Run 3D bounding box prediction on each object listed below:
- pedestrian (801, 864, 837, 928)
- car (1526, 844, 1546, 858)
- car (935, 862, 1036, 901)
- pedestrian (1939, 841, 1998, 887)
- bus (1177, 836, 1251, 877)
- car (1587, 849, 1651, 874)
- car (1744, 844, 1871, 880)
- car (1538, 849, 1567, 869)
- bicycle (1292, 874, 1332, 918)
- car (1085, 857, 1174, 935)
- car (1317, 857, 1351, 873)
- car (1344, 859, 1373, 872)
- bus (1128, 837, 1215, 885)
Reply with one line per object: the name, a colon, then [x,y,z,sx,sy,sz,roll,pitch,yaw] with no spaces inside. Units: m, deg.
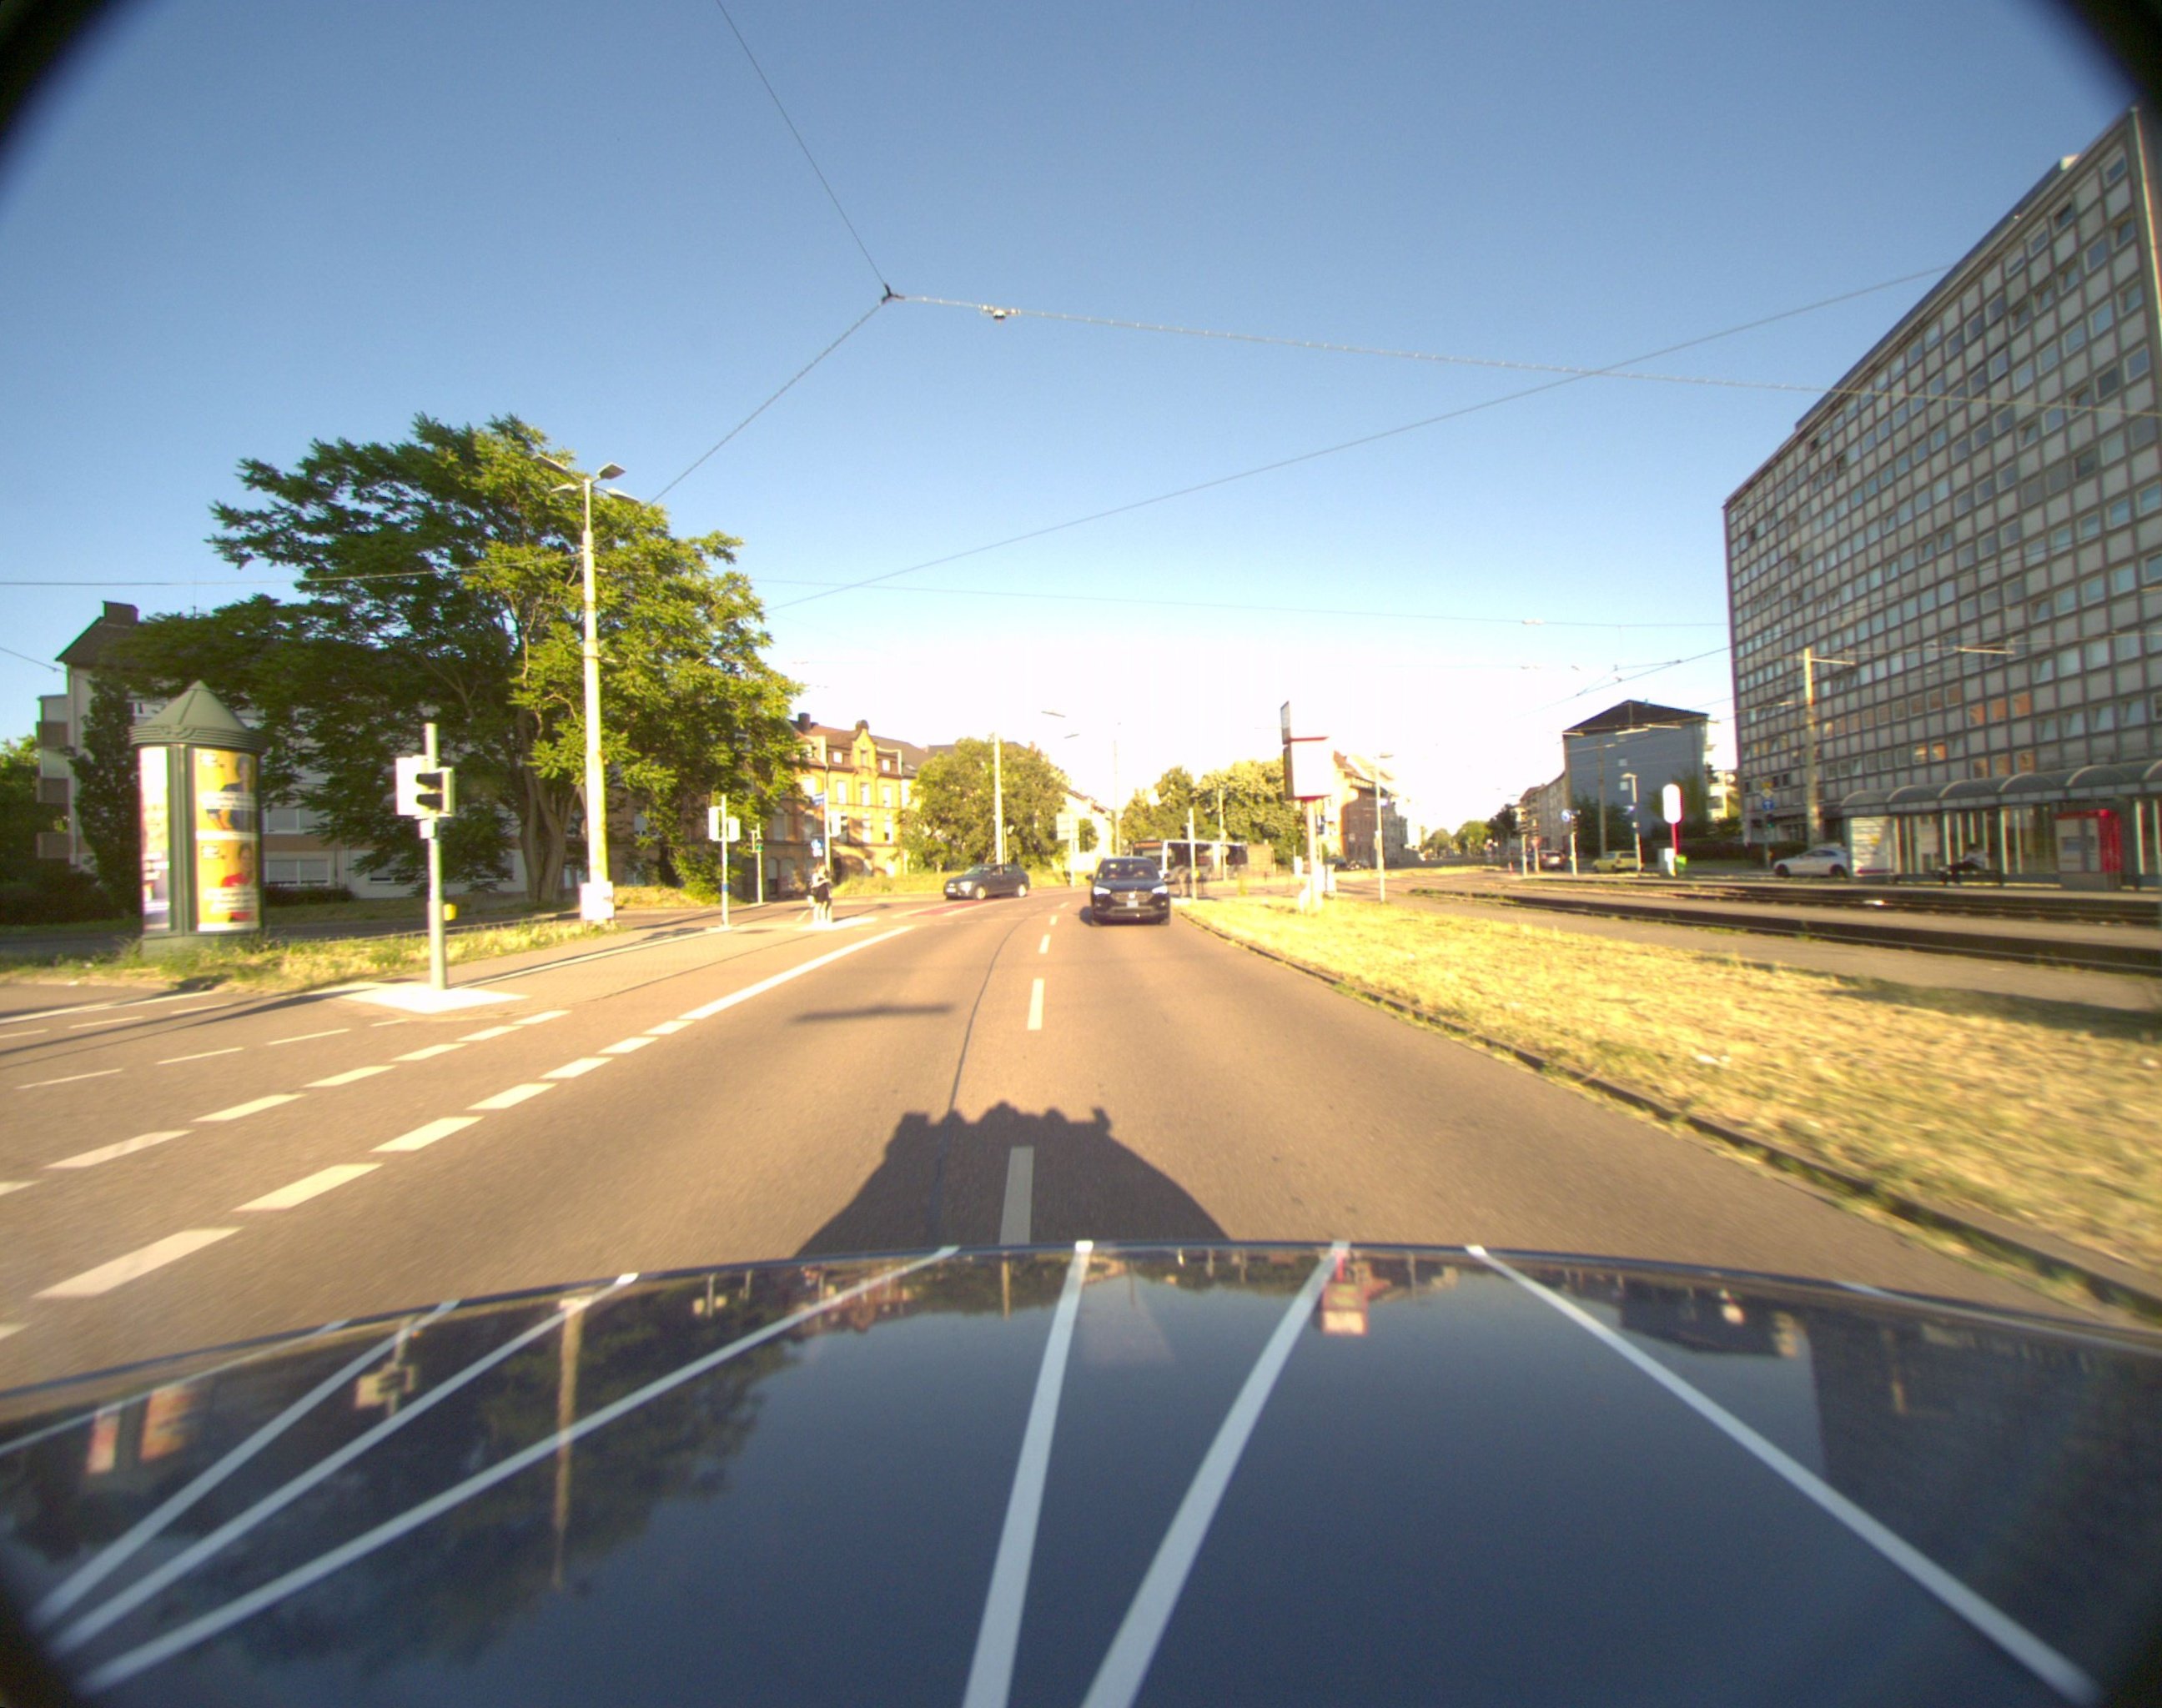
pedestrian: [-6.620,1.055,19.200,0.592,1.586,0.547,-2,0,34]
car: [52.603,-0.372,87.944,1.878,1.465,4.137,-3,-1,30]
car: [-4.184,1.191,33.994,1.814,1.539,4.341,-2,0,41]
pedestrian: [25.476,0.283,21.819,0.954,1.260,0.662,-2,1,-5]
bus: [10.644,0.155,59.917,2.607,3.007,8.875,-2,0,31]
car: [34.512,0.494,48.841,1.739,1.465,4.133,-2,-1,11]
car: [32.633,0.357,34.302,1.740,1.465,4.130,-2,-1,1]
car: [38.697,0.388,62.419,1.878,1.465,4.137,-3,-1,30]
bicycle: [5.822,1.039,19.108,0.606,0.988,1.750,-2,0,28]
car: [1.092,0.942,19.099,1.818,1.670,4.623,-2,0,-1]
car: [26.151,1.108,78.457,3.987,1.465,1.737,-1,-1,-45]
car: [33.762,1.435,92.348,3.987,1.405,1.737,-1,-1,-45]
bus: [6.450,0.417,52.236,2.607,3.007,9.595,-2,0,27]
